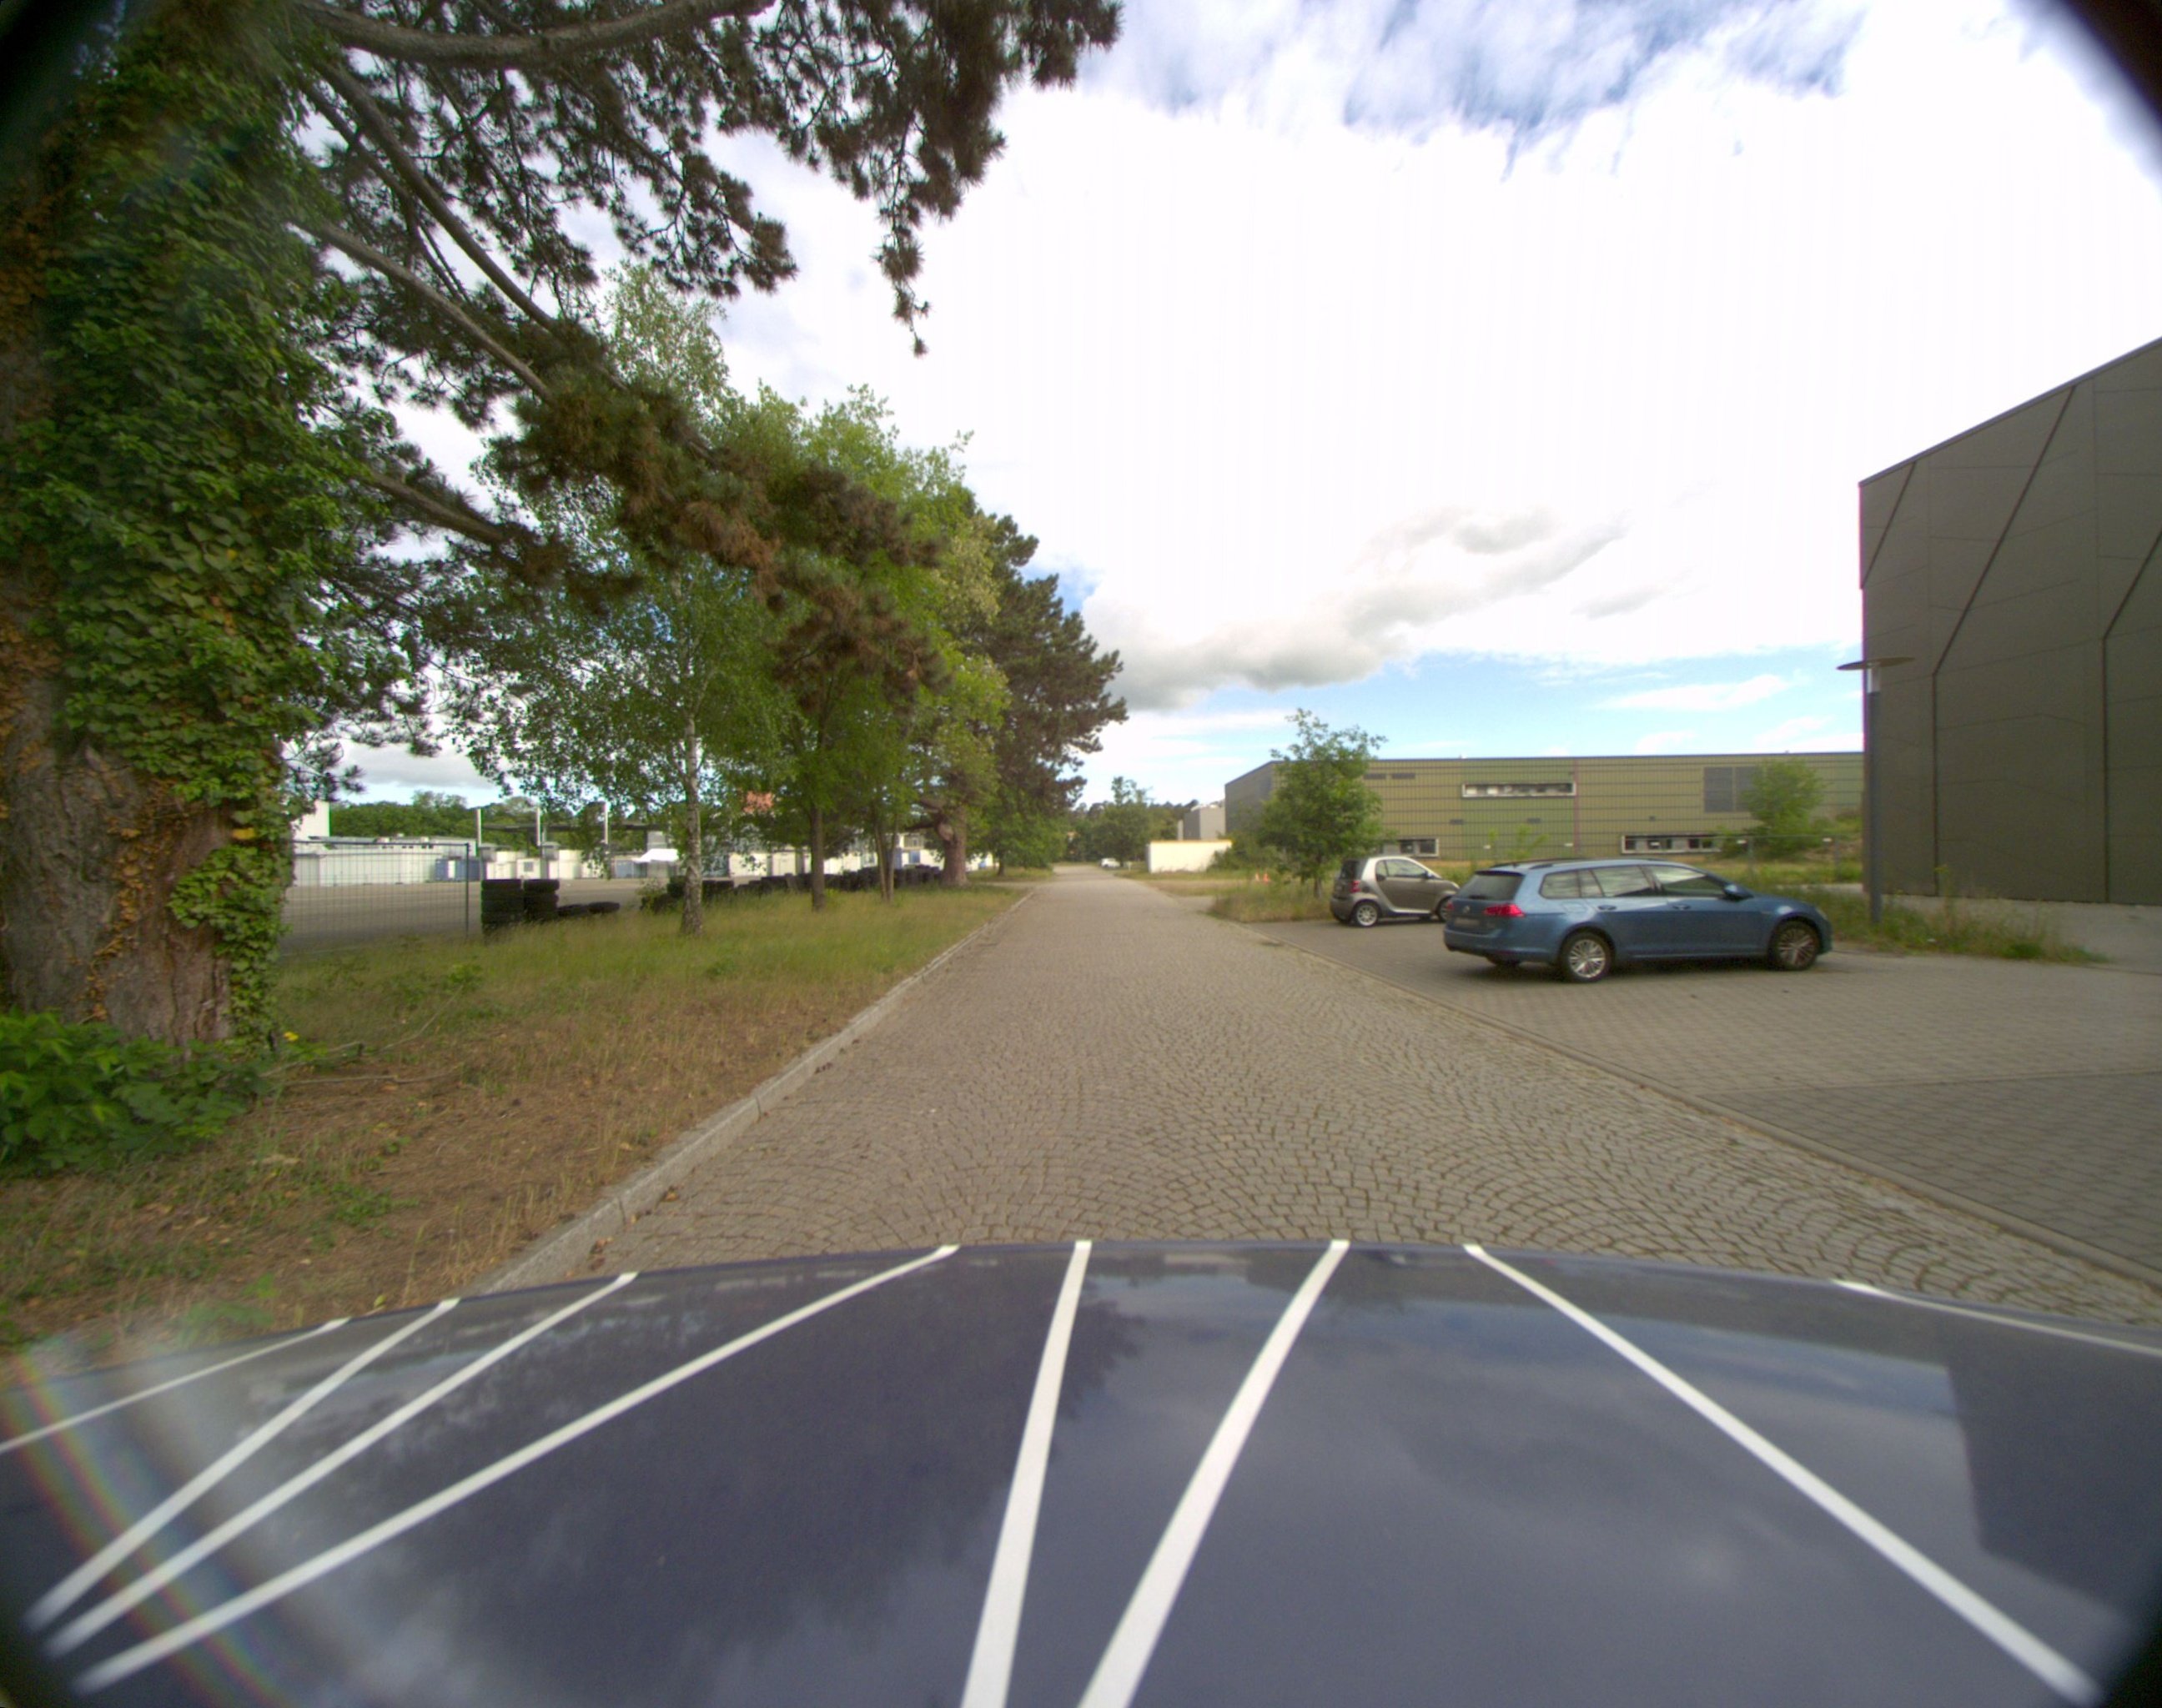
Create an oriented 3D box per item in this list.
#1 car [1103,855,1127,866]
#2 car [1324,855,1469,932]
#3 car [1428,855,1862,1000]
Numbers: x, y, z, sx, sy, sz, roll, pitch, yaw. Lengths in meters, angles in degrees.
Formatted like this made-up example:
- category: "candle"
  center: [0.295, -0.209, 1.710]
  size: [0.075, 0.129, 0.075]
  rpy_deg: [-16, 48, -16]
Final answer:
- category: "car"
  center: [5.805, 1.114, 129.627]
  size: [4.062, 1.767, 1.792]
  rpy_deg: [-2, 0, -1]
- category: "car"
  center: [7.074, 0.861, 17.201]
  size: [2.584, 1.521, 1.500]
  rpy_deg: [-3, 0, -2]
- category: "car"
  center: [7.098, 0.866, 9.832]
  size: [4.427, 1.461, 1.633]
  rpy_deg: [-3, 0, -3]
